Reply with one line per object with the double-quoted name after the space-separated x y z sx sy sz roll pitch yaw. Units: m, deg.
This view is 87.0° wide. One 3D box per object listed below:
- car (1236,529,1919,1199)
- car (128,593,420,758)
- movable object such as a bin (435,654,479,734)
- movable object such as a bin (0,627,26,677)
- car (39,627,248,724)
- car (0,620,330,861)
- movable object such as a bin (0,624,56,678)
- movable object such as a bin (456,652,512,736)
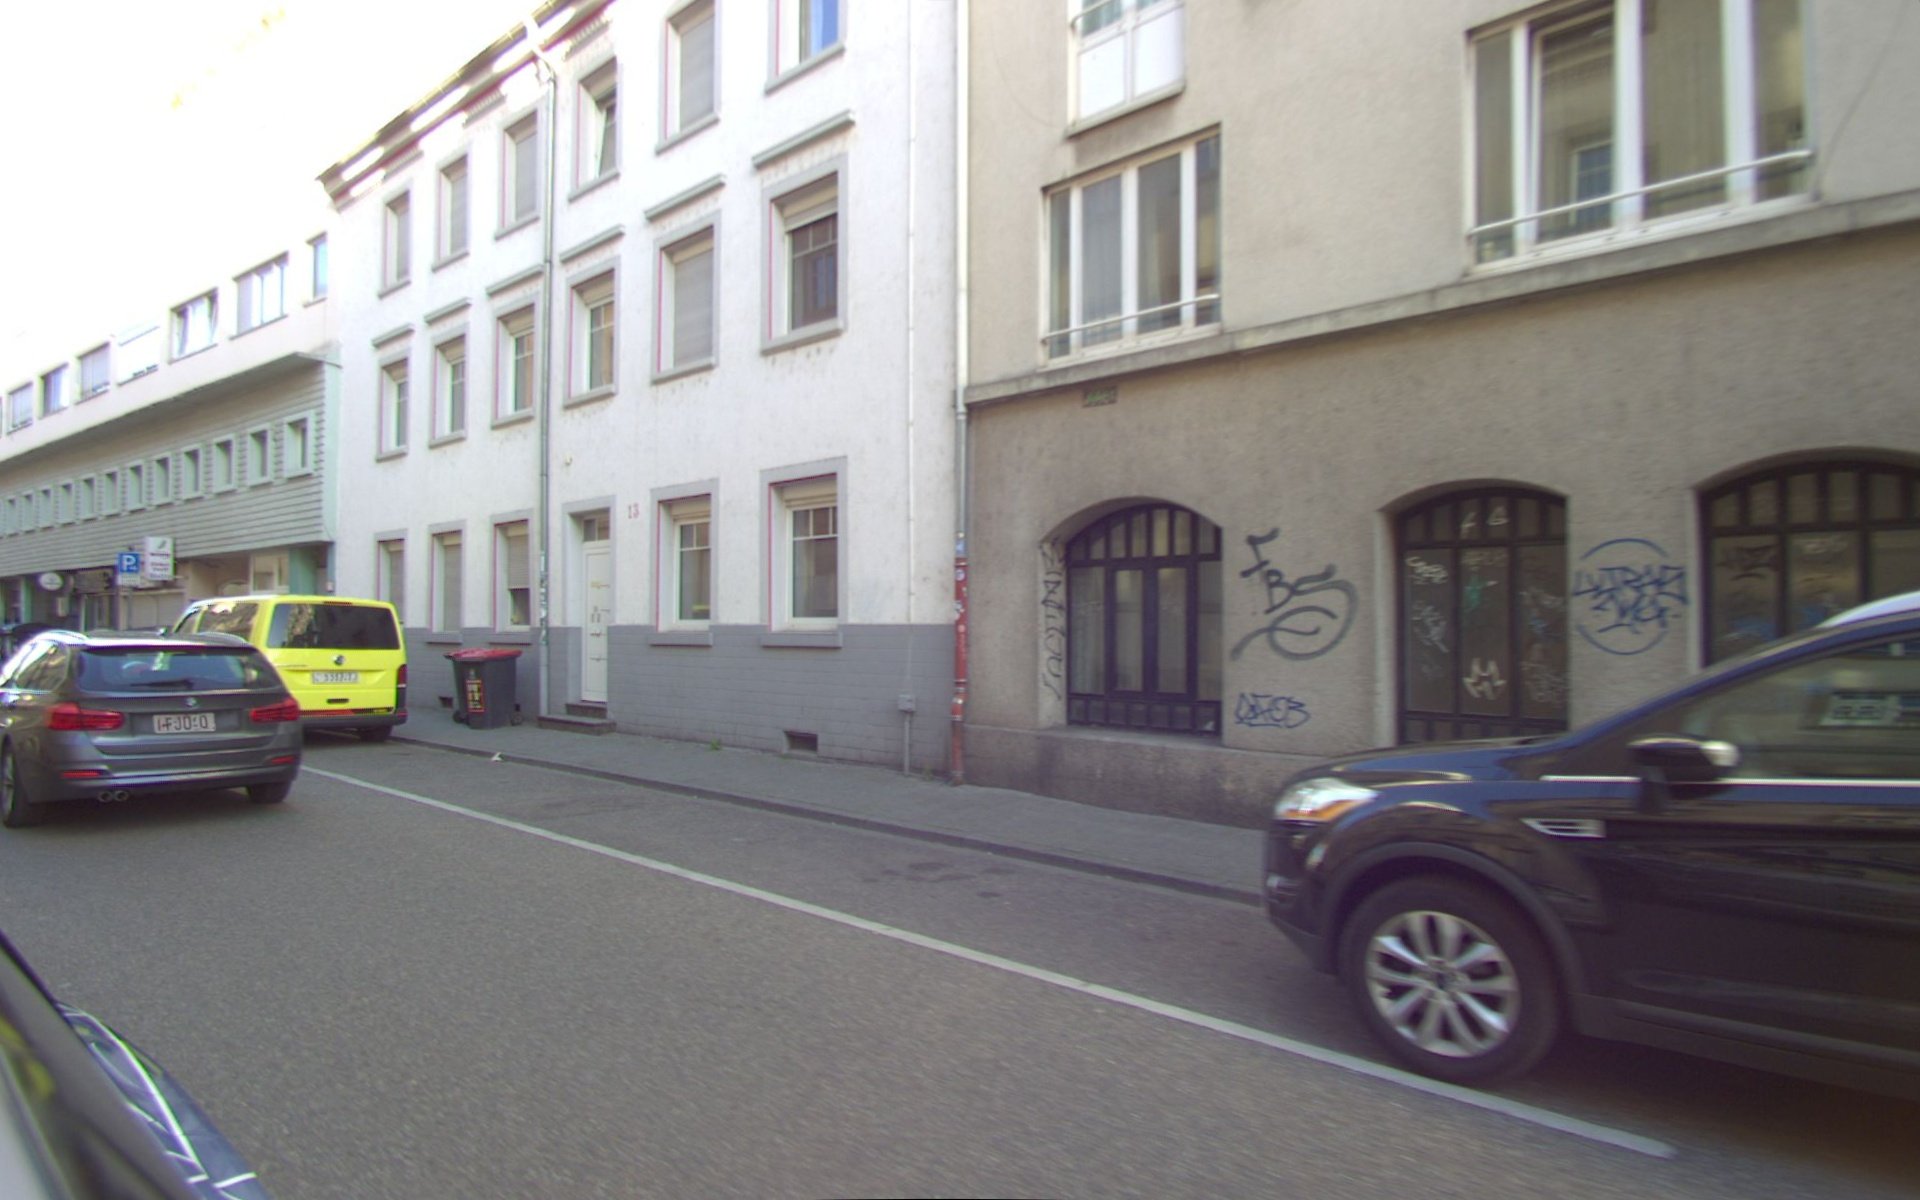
3.178 0.730 3.105 4.190 1.724 1.721 -2 -5 42 "car"
-9.510 0.976 13.877 4.858 1.881 1.862 -1 -5 39 "car"
-7.166 1.331 14.424 0.433 1.113 0.406 -2 -3 40 "movable object such as a bin"
-29.058 1.582 30.546 1.471 1.483 0.960 -3 -3 35 "movable object such as a bin"
-14.320 1.269 17.695 4.069 1.497 1.802 -1 -5 37 "car"
-7.280 0.985 8.581 4.179 1.590 1.700 -1 -2 34 "car"
-27.537 1.497 29.774 1.338 1.532 1.113 -3 -3 35 "movable object such as a bin"
-6.544 1.279 13.913 0.433 1.113 0.535 -2 -3 40 "movable object such as a bin"
